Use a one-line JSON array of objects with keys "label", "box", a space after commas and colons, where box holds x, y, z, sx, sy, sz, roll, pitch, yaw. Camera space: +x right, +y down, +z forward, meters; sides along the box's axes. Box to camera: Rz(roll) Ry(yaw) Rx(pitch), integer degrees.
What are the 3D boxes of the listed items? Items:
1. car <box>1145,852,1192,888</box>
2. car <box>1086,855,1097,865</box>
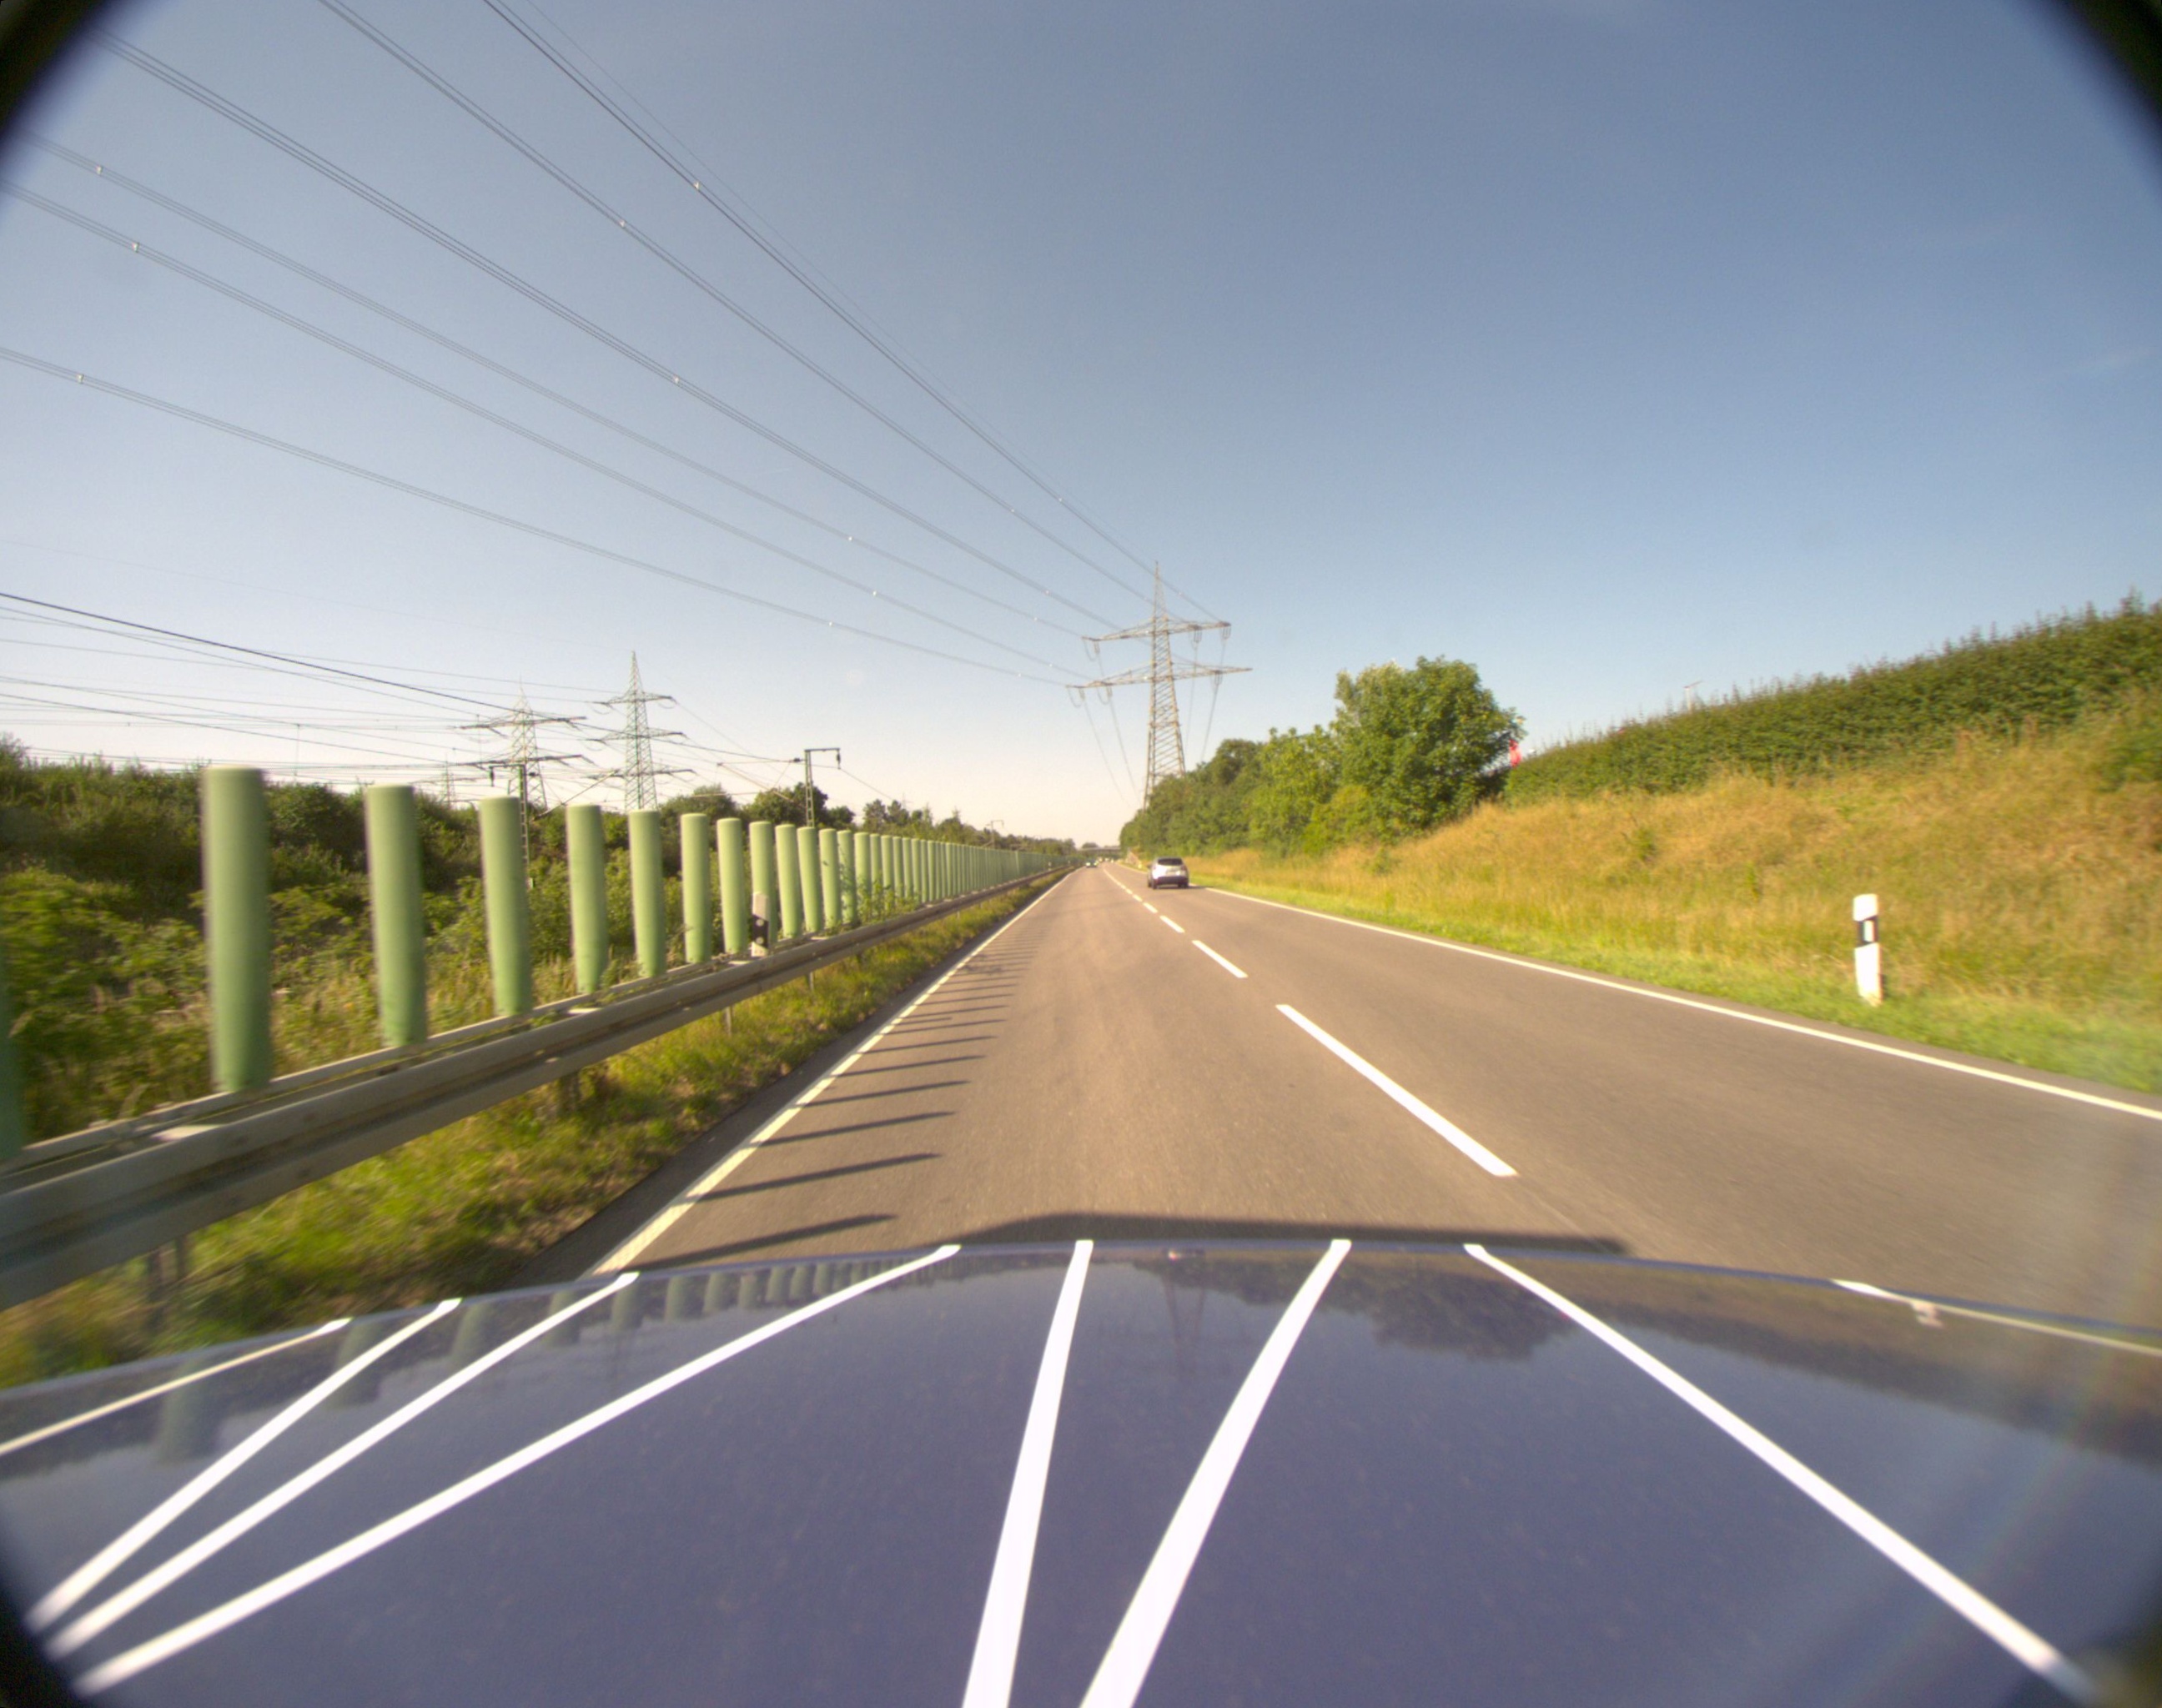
[{"label": "car", "box": [4.301, 0.743, 37.817, 1.800, 1.584, 3.999, -2, 1, 0]}, {"label": "car", "box": [1.856, 1.021, 128.639, 1.787, 1.550, 4.000, -1, 0, 2]}]
